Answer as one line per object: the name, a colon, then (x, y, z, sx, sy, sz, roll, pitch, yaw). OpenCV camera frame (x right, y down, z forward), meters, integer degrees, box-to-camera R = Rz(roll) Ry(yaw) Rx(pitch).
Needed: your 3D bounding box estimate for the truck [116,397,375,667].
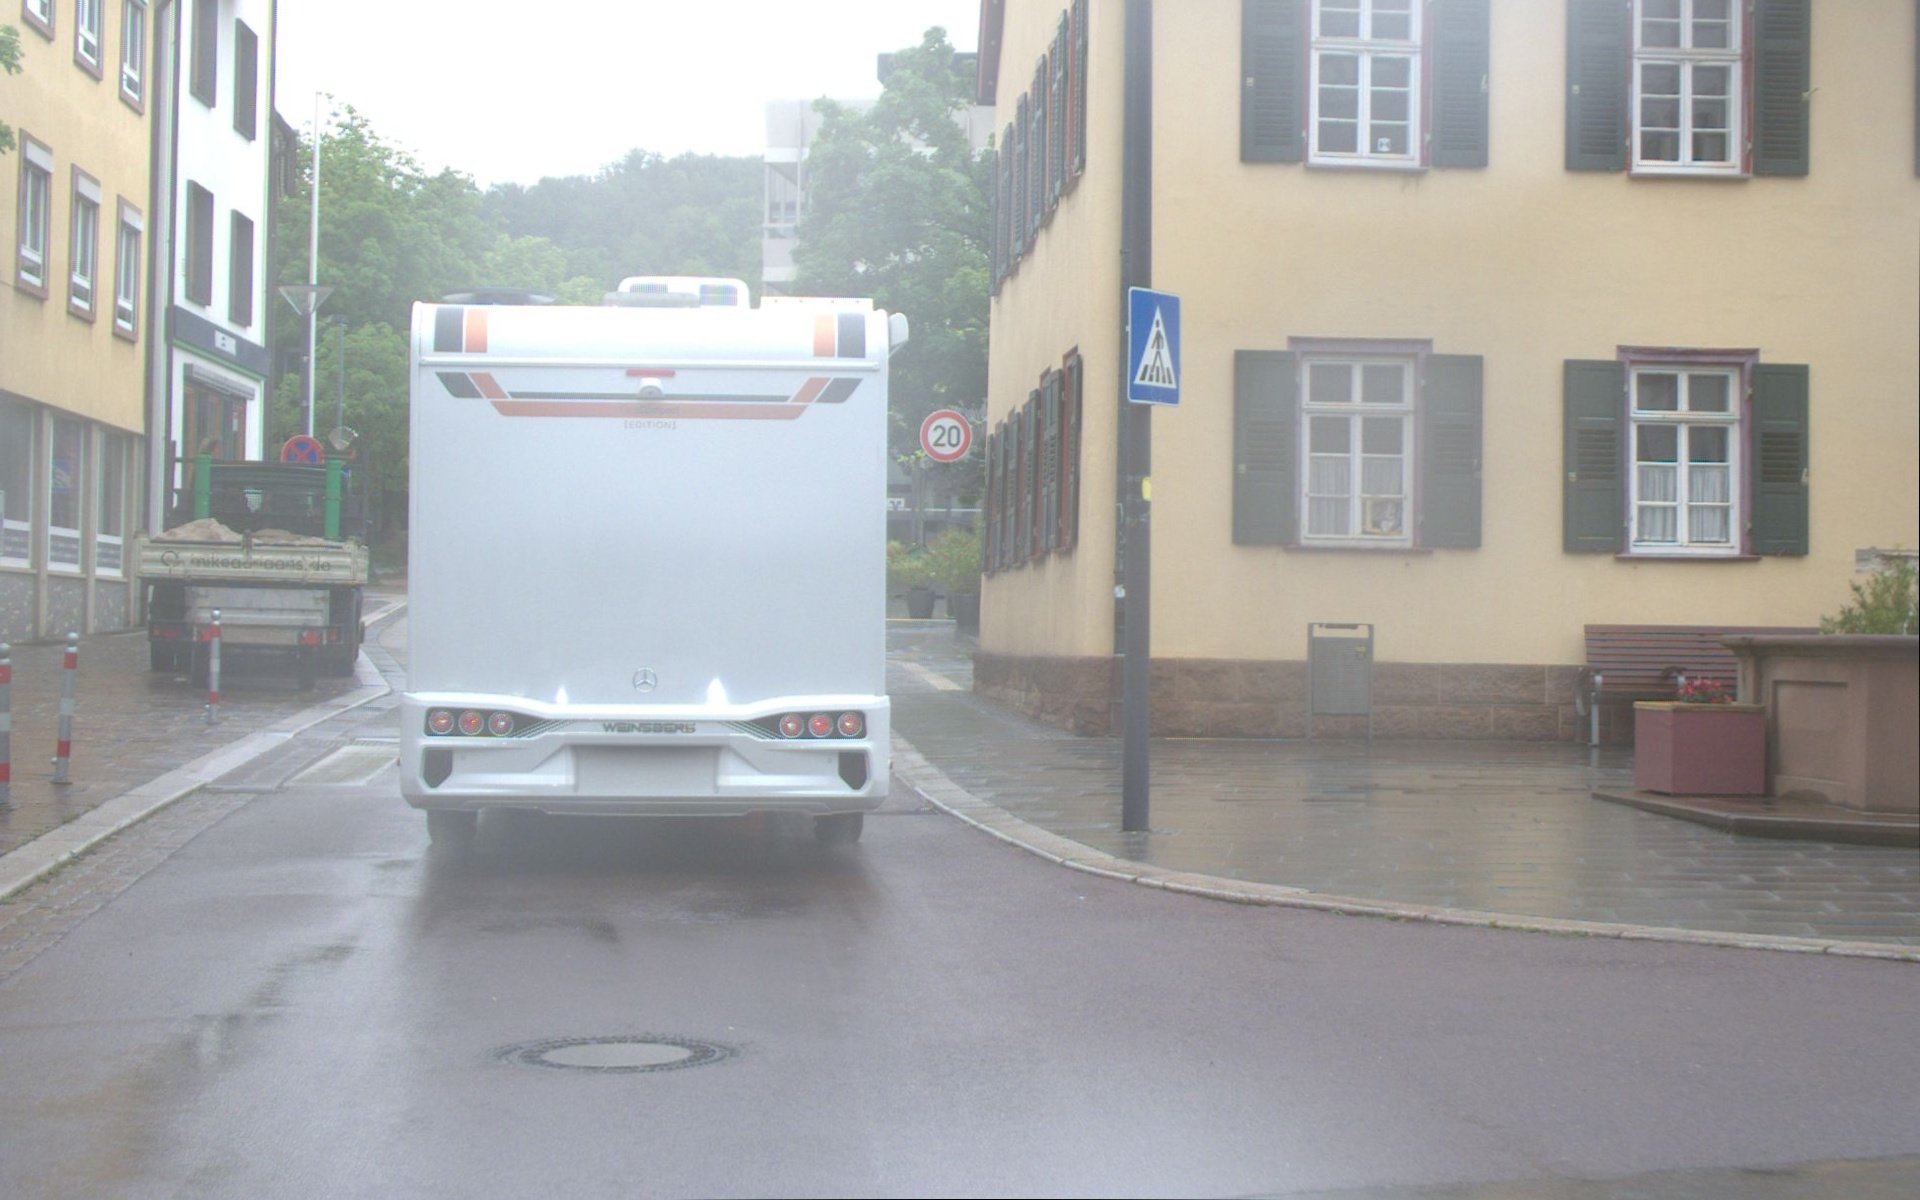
truck: (-7.835, -0.661, 38.233, 2.280, 2.748, 5.570, 1, -1, -7)

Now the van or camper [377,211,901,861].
van or camper: (-1.843, -0.242, 18.804, 2.325, 2.909, 6.394, 1, -1, -7)
